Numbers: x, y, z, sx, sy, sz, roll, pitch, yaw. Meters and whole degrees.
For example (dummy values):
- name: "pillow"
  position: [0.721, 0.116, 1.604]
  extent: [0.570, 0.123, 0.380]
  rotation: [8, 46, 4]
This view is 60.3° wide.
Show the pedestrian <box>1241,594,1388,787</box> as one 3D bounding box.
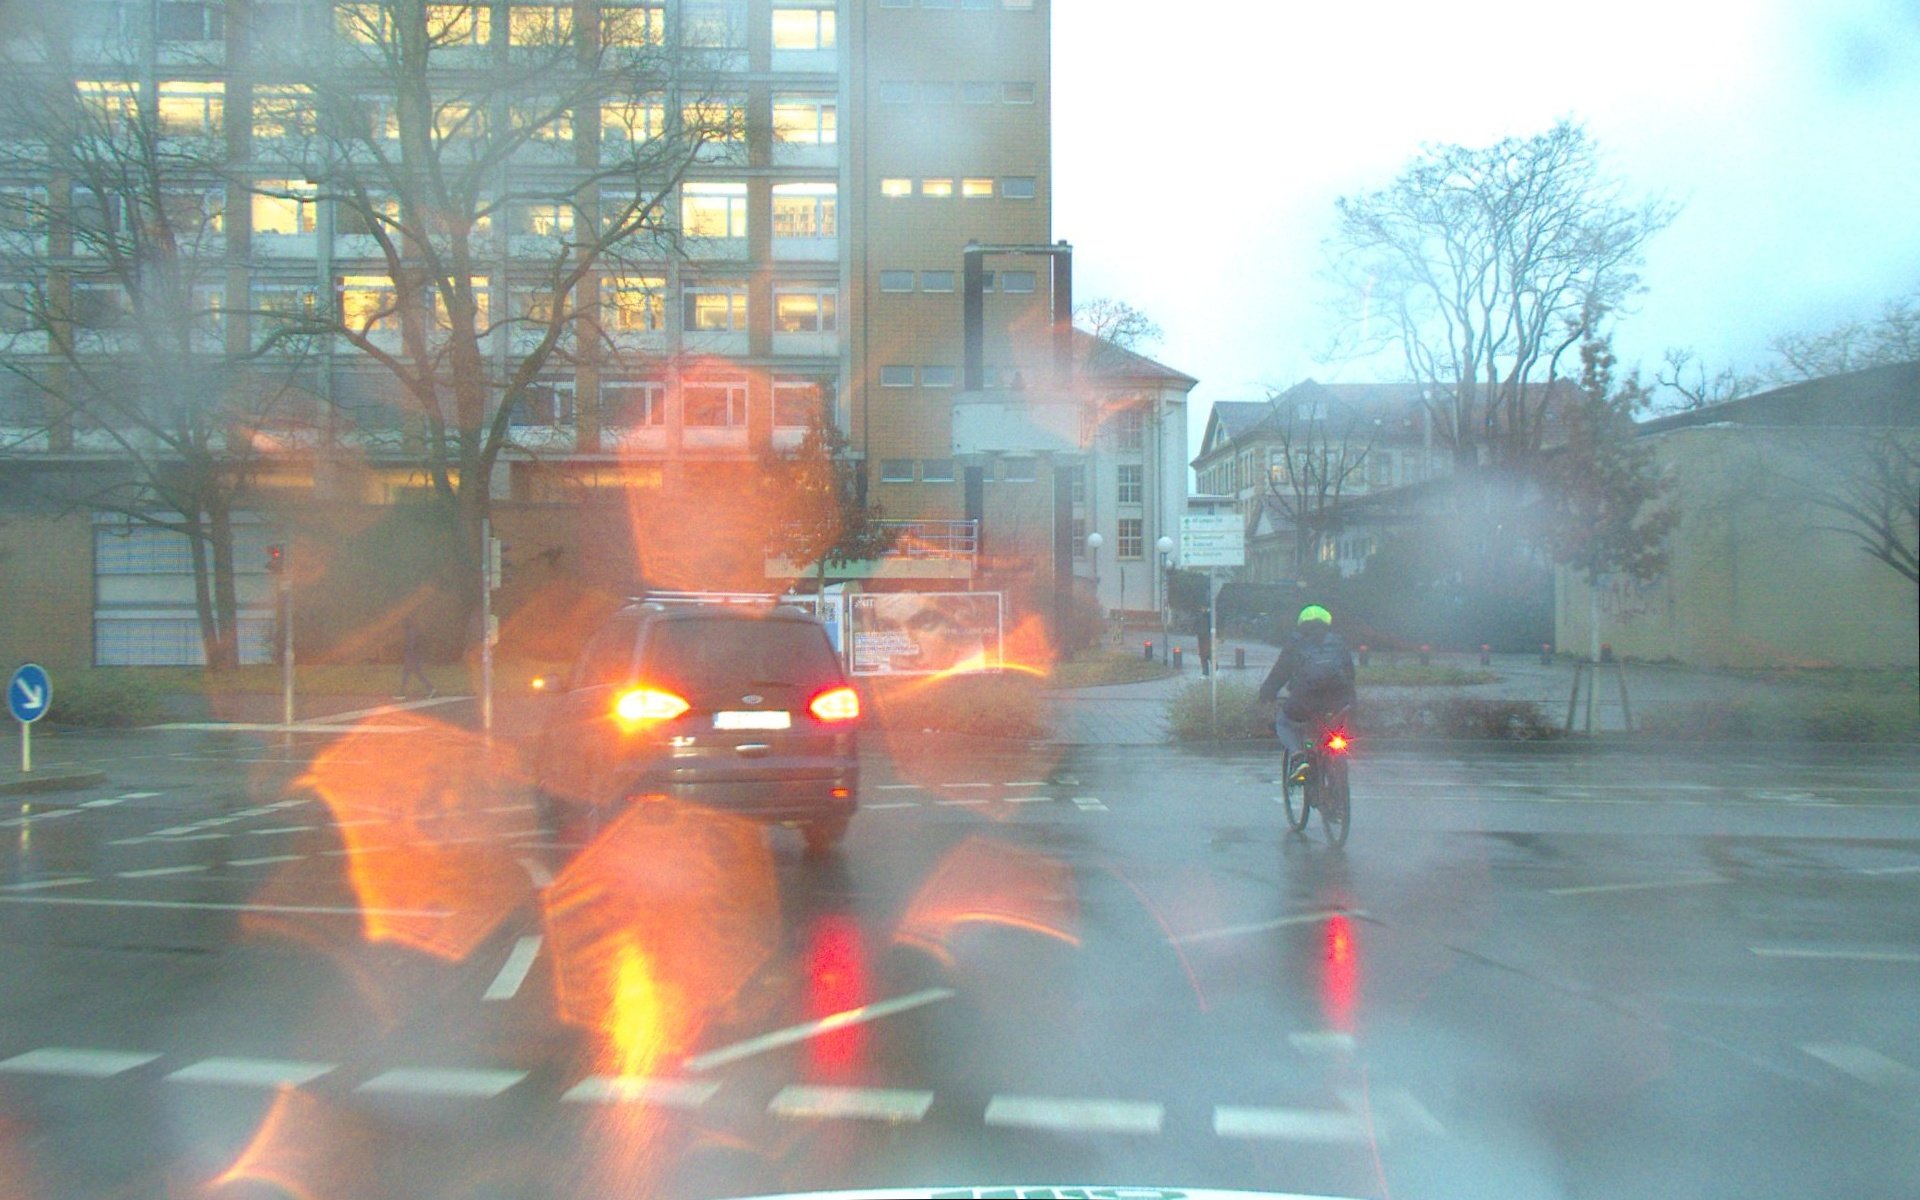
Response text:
- name: "pedestrian"
  position: [2.560, 0.633, 12.034]
  extent: [0.857, 1.340, 0.848]
  rotation: [-1, 0, -1]

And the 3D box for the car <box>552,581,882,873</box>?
- name: "car"
  position: [-2.051, 0.835, 12.750]
  extent: [1.751, 1.832, 4.400]
  rotation: [1, -1, -19]

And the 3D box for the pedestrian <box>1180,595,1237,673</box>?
- name: "pedestrian"
  position: [5.613, 0.759, 37.384]
  extent: [0.914, 1.717, 0.904]
  rotation: [0, 2, -28]

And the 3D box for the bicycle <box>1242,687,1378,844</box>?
- name: "bicycle"
  position: [2.579, 1.190, 12.395]
  extent: [0.550, 0.963, 2.095]
  rotation: [-1, 0, 0]

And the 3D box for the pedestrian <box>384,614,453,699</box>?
- name: "pedestrian"
  position: [-11.229, 1.165, 34.292]
  extent: [1.044, 1.717, 0.810]
  rotation: [-1, 1, 20]
